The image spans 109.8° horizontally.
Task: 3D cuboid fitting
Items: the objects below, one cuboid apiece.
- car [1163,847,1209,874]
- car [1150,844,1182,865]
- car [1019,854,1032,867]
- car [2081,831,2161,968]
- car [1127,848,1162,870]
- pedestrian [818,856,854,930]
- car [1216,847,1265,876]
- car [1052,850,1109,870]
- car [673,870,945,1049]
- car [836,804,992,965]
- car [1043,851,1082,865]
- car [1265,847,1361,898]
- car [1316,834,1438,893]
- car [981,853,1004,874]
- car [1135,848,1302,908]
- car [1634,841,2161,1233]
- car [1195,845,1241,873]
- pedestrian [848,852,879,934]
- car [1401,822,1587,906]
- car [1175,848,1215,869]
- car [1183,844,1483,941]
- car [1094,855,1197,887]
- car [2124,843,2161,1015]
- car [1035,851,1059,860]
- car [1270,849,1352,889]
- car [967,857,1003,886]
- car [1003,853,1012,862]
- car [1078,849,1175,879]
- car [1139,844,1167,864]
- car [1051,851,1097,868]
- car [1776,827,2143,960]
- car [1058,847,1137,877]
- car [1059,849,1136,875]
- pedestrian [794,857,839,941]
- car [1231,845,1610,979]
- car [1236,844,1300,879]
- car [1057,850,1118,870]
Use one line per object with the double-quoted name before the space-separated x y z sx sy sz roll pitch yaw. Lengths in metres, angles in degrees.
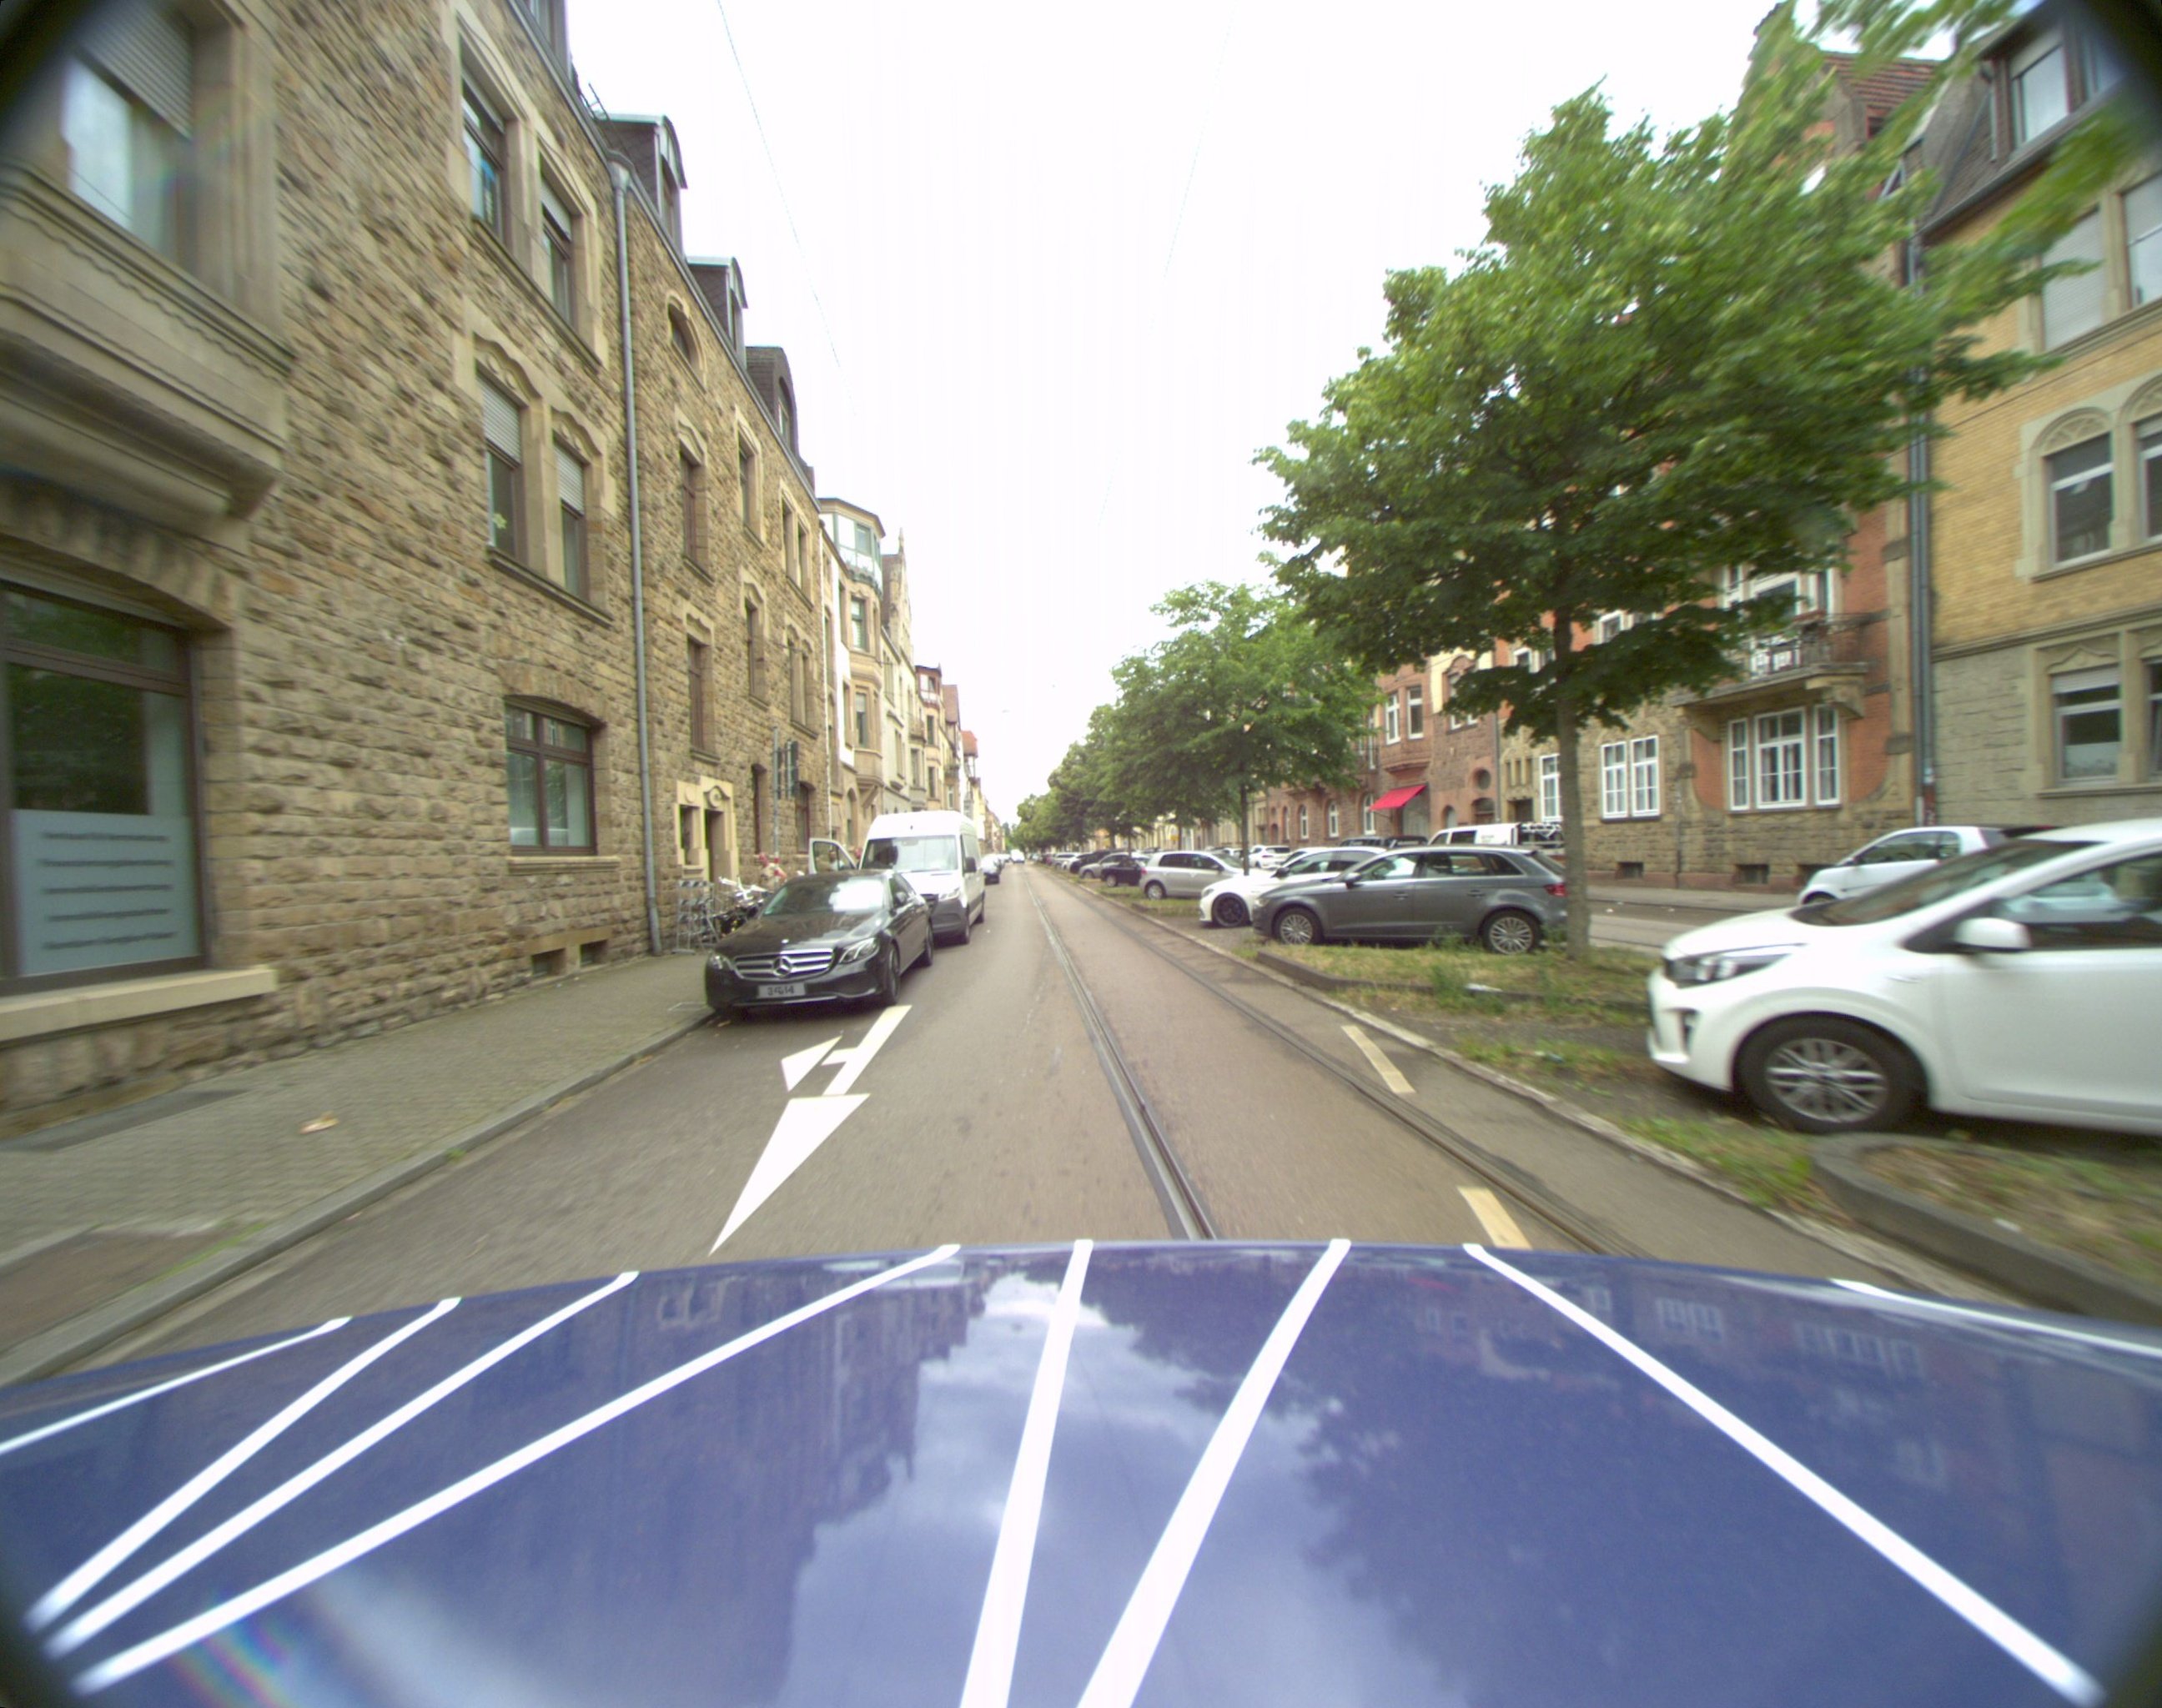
"car" 6.120 0.334 44.897 1.649 1.495 4.619 -2 1 -5
"car" 7.177 0.039 64.669 1.810 1.670 4.270 -2 1 -5
"car" -8.707 1.012 118.607 1.999 2.002 3.998 -2 1 -5
"car" 12.423 0.469 6.795 1.639 1.434 3.921 -2 0 -6
"car" 4.772 0.339 57.809 1.810 1.570 4.544 -2 1 -5
"pedestrian" -5.721 0.894 17.734 0.706 1.690 0.492 0 1 -32
"car" 9.067 0.382 43.559 1.667 1.551 3.720 -2 1 -5
"car" -0.059 0.471 63.249 4.552 1.484 1.867 -2 1 41
"car" -2.981 1.035 9.603 1.829 1.442 5.004 -3 1 -4
"car" -3.152 0.486 16.002 2.019 2.534 7.013 -4 0 -4
"car" -2.240 0.480 91.262 4.595 1.458 1.889 -2 1 41
"car" 7.547 0.540 25.132 1.649 1.495 3.881 -2 1 -5
"car" 10.118 0.276 26.499 1.819 1.771 5.114 -2 1 -5
"car" -7.202 0.746 62.116 1.764 1.613 4.691 -2 0 -6
"car" 3.741 0.646 20.980 4.106 1.475 1.800 -2 1 36
"car" 4.859 0.685 3.349 3.853 1.454 1.693 -2 1 37
"car" 8.631 0.279 48.269 1.774 1.619 4.318 -2 1 -5
"pedestrian" -4.881 0.860 17.056 0.500 1.804 0.802 0 0 -3
"car" 10.935 0.215 20.660 1.887 1.941 5.091 -2 1 -5
"car" 8.164 0.296 54.772 1.810 1.430 4.227 -2 1 -5
"car" 4.371 0.634 13.485 4.675 1.426 1.902 -2 1 35
"car" 2.632 0.720 31.366 3.952 1.195 1.671 -2 1 39
"car" 9.660 0.598 4.456 1.649 1.375 3.881 -2 1 -5
"car" -6.325 0.280 140.324 3.990 1.602 1.902 -2 -1 26
"car" 9.804 0.587 32.740 1.745 1.533 4.551 -2 1 -5
"car" -5.358 0.925 42.921 1.806 1.430 5.193 -2 0 -5
"car" -14.634 0.684 151.596 1.676 1.520 4.210 -3 1 -5
"car" 2.234 0.533 38.204 4.655 1.360 1.761 -2 1 38
"car" 6.804 0.003 72.148 1.856 1.860 4.429 -2 0 -4
"car" -0.698 0.530 73.427 4.195 1.600 1.728 -1 2 36
"car" 11.993 0.467 10.654 1.639 1.541 2.949 -2 0 -6
"car" 0.963 0.481 45.178 4.520 1.624 1.769 -1 1 39
"car" 0.992 0.510 48.033 4.529 1.482 2.040 -1 1 39
"pedestrian" -5.496 0.915 15.798 0.866 1.690 0.537 0 1 -19
"car" 4.445 0.671 10.196 4.328 1.426 1.902 -2 1 35
"car" 9.434 0.340 38.721 1.745 1.617 4.551 -2 1 -5
"car" 0.478 0.443 55.350 4.119 1.304 1.867 -2 1 38
